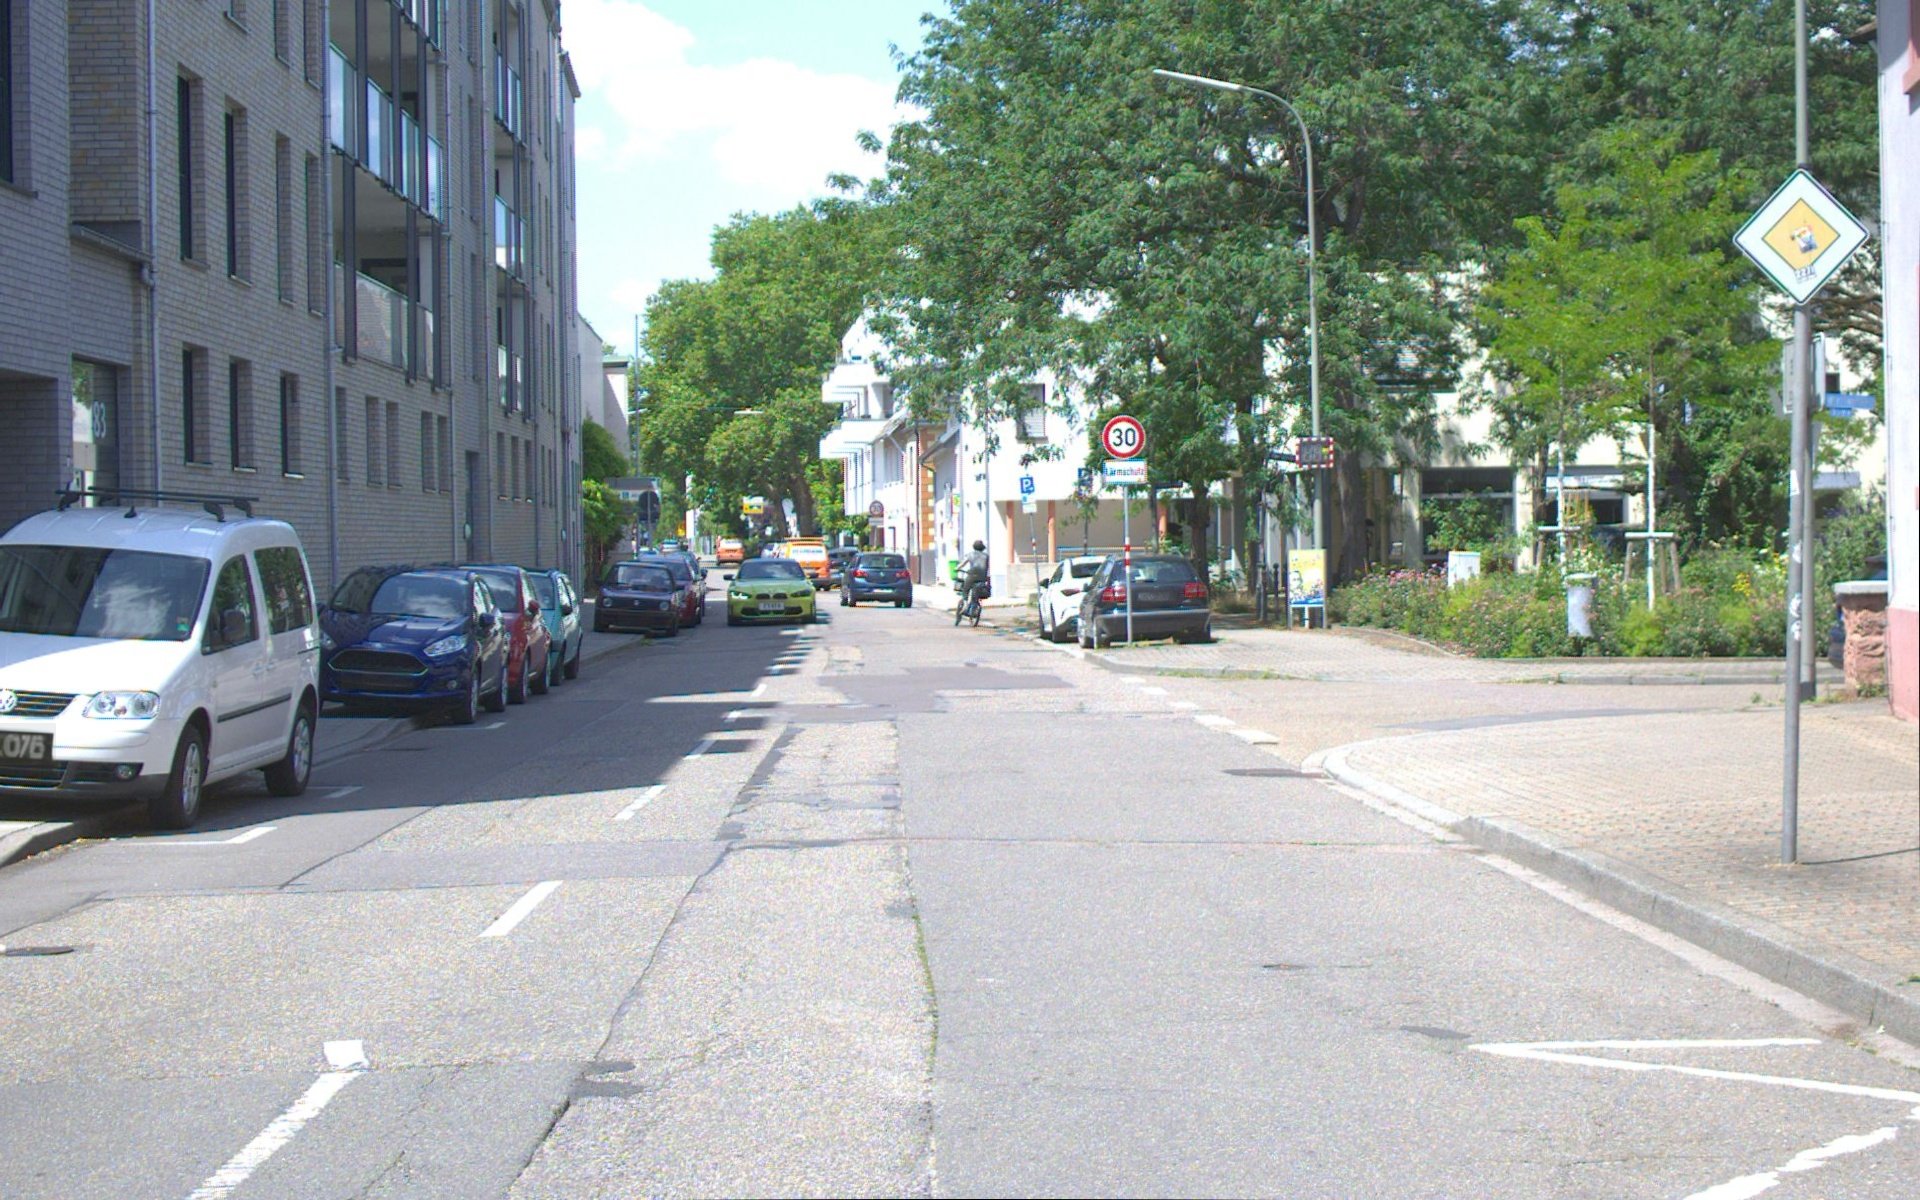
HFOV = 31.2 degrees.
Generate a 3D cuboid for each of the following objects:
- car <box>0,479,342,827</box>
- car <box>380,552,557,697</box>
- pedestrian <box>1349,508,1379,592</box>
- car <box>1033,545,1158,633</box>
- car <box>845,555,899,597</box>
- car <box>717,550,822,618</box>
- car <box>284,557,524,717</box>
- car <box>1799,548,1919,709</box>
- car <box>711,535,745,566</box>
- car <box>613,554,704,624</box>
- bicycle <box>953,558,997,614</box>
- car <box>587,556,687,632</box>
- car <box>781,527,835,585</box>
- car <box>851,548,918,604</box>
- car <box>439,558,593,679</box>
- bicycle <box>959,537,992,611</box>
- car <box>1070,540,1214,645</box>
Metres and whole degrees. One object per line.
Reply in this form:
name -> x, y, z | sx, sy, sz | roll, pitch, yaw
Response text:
car -> -5.169, 0.238, 21.107 | 1.757, 1.885, 4.336 | 2, 1, 2
car -> -5.474, 0.238, 38.599 | 1.590, 1.548, 3.571 | 0, 1, -2
pedestrian -> 8.994, -1.120, 76.481 | 0.595, 1.853, 0.603 | -1, 1, 11
car -> 2.262, -0.211, 58.439 | 1.778, 1.415, 4.000 | -1, 1, -3
car -> -3.464, -0.933, 134.529 | 1.993, 1.612, 4.001 | 0, 1, -3
car -> -4.077, -0.370, 74.191 | 1.993, 1.376, 4.393 | 1, 1, 0
car -> -5.375, 0.317, 33.664 | 1.723, 1.451, 4.005 | 1, 1, 0
car -> 10.078, 0.258, 32.950 | 3.598, 1.444, 1.742 | 0, 3, -2
car -> -15.631, -3.352, 231.560 | 2.156, 2.007, 4.001 | -1, 1, -3
car -> -6.439, -0.256, 73.819 | 1.732, 1.437, 4.000 | -1, 1, -2
bicycle -> 0.310, -0.290, 70.349 | 0.483, 1.111, 1.196 | -1, 1, -21
car -> -6.423, -0.146, 68.678 | 1.732, 1.437, 4.000 | -1, 1, -2
car -> -5.423, -1.583, 123.062 | 1.839, 2.007, 4.000 | -1, 1, -1
car -> -2.020, -0.656, 91.802 | 1.715, 1.397, 4.000 | -1, 1, -1
car -> -5.633, 0.201, 43.909 | 1.590, 1.451, 3.704 | 1, 1, -2
bicycle -> 0.317, -0.534, 70.333 | 0.477, 1.485, 0.576 | -1, 1, -21
car -> 2.689, -0.130, 51.476 | 1.692, 1.415, 4.000 | -3, 1, -3
